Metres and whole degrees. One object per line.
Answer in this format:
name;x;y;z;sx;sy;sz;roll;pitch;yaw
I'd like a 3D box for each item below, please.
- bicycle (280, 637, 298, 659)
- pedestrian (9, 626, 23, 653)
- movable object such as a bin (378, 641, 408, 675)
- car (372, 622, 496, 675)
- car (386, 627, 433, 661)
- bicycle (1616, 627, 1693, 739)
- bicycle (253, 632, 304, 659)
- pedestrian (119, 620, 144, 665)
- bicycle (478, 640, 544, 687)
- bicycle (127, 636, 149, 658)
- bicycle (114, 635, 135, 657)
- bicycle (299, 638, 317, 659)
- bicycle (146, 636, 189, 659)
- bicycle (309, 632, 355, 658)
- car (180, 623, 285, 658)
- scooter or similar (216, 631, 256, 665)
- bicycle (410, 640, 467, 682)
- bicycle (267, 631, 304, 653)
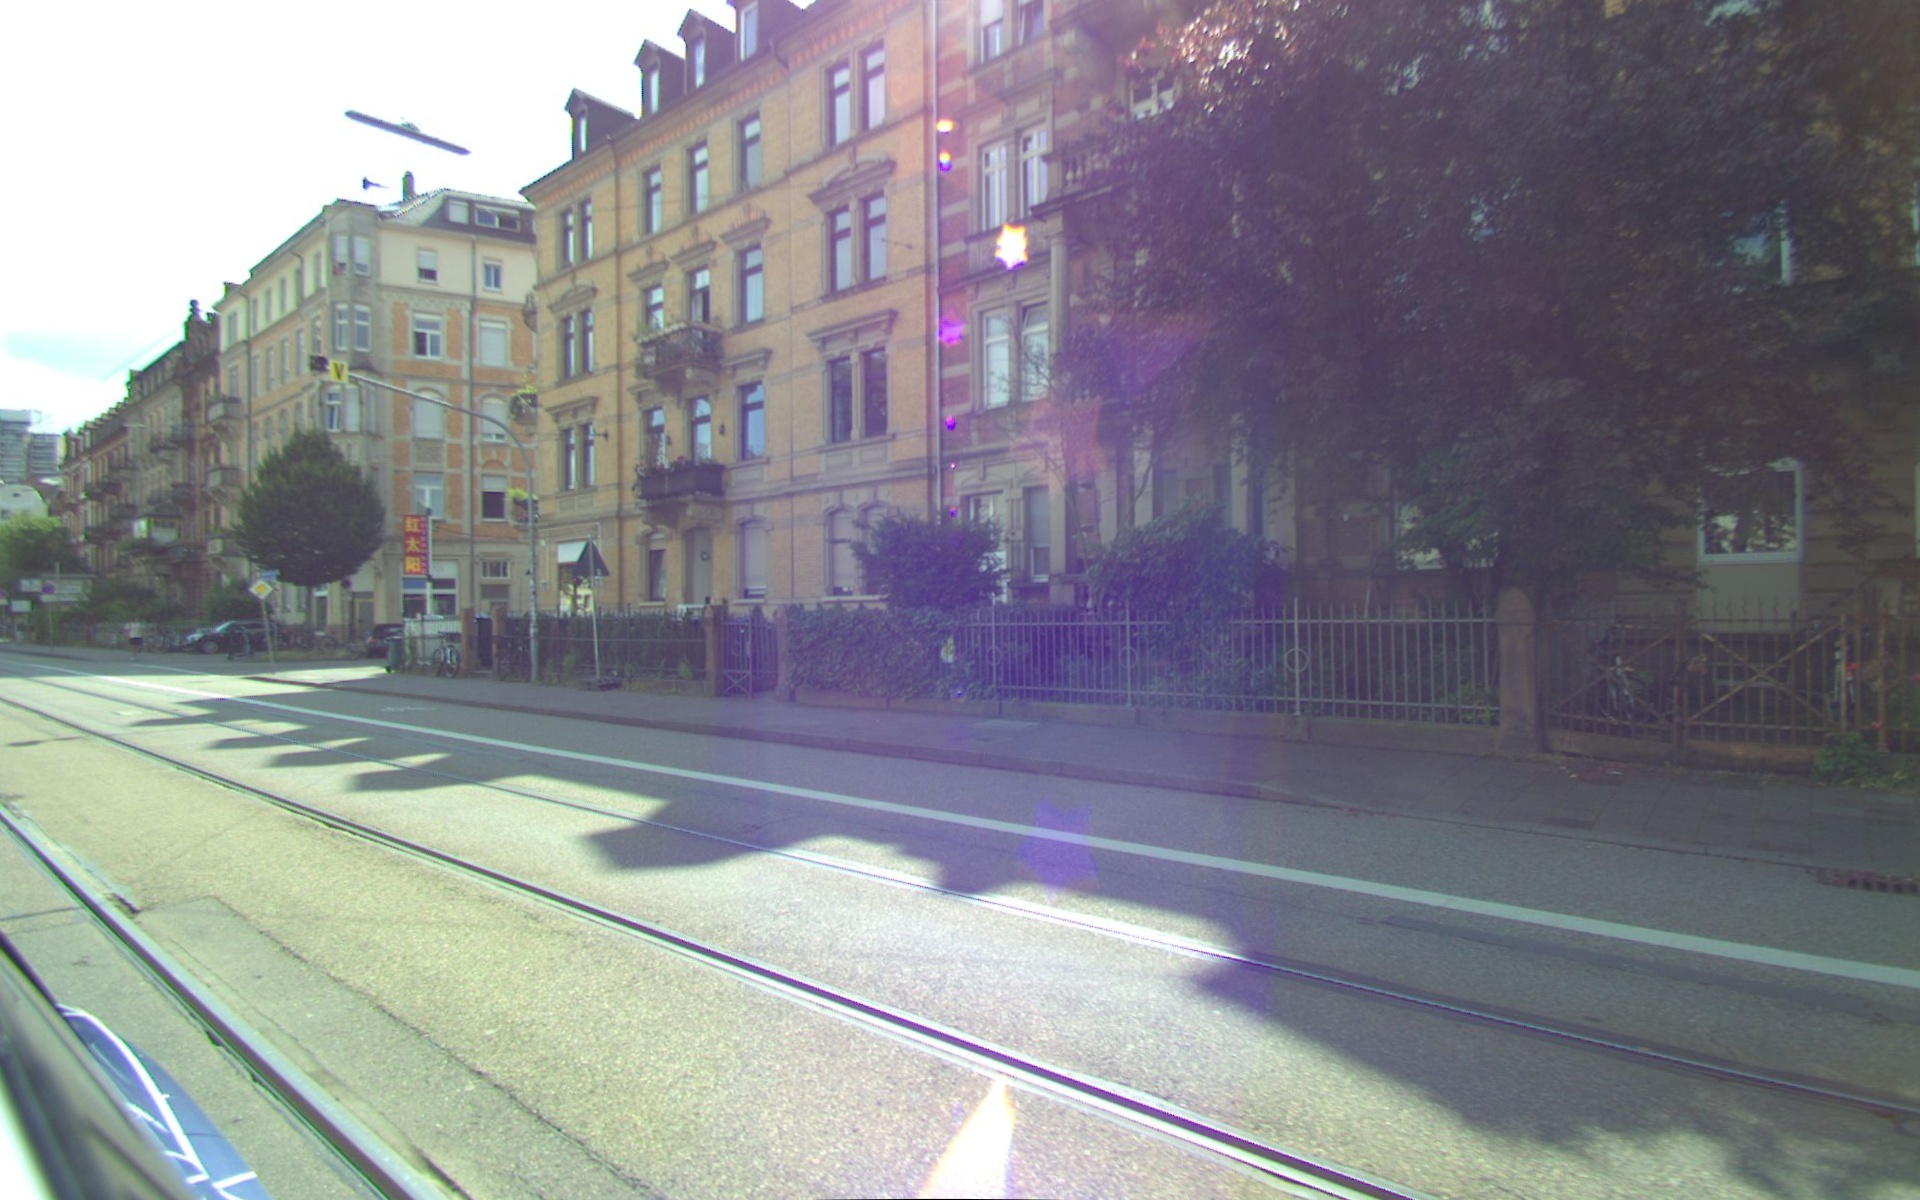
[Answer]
bicycle;-27.456;1.960;41.403;0.516;0.844;1.702;0;-2;-36
pedestrian;-61.502;2.586;65.948;1.150;1.716;0.483;-2;-1;39
movable object such as a bin;-15.432;1.570;27.549;0.635;0.912;0.520;-2;-2;39
car;-15.868;1.405;30.420;4.761;1.470;1.668;-2;-2;41
car;-23.527;1.860;43.177;1.616;1.371;3.938;0;-2;-31
bicycle;7.262;0.816;10.640;0.465;1.027;2.188;-1;-1;30
bicycle;-28.814;1.913;42.808;0.523;1.071;1.738;-2;-2;35
pedestrian;-33.456;1.703;40.874;1.105;1.773;0.528;-2;1;40
bicycle;-9.757;1.366;21.964;1.966;0.954;0.524;-2;-2;41
bicycle;-36.917;2.109;45.463;1.948;0.984;0.417;-2;-1;40
bicycle;-38.893;2.136;47.115;1.948;0.984;0.417;-2;-1;40
bicycle;-26.731;1.980;41.485;0.516;0.844;1.702;0;-2;-36
bicycle;-34.834;2.074;44.500;0.404;0.984;1.438;-2;-2;40
bicycle;-27.203;1.946;43.852;1.671;1.071;0.525;0;-2;-39
car;-32.346;1.785;45.052;1.787;1.413;3.563;-2;-1;44
scooter or similar;-28.186;1.850;39.407;0.400;1.244;1.361;-1;0;12
bicycle;-12.538;1.454;24.309;1.966;0.954;0.524;-2;-2;41
bicycle;-32.207;1.993;48.350;0.404;0.984;1.438;-2;-2;40
